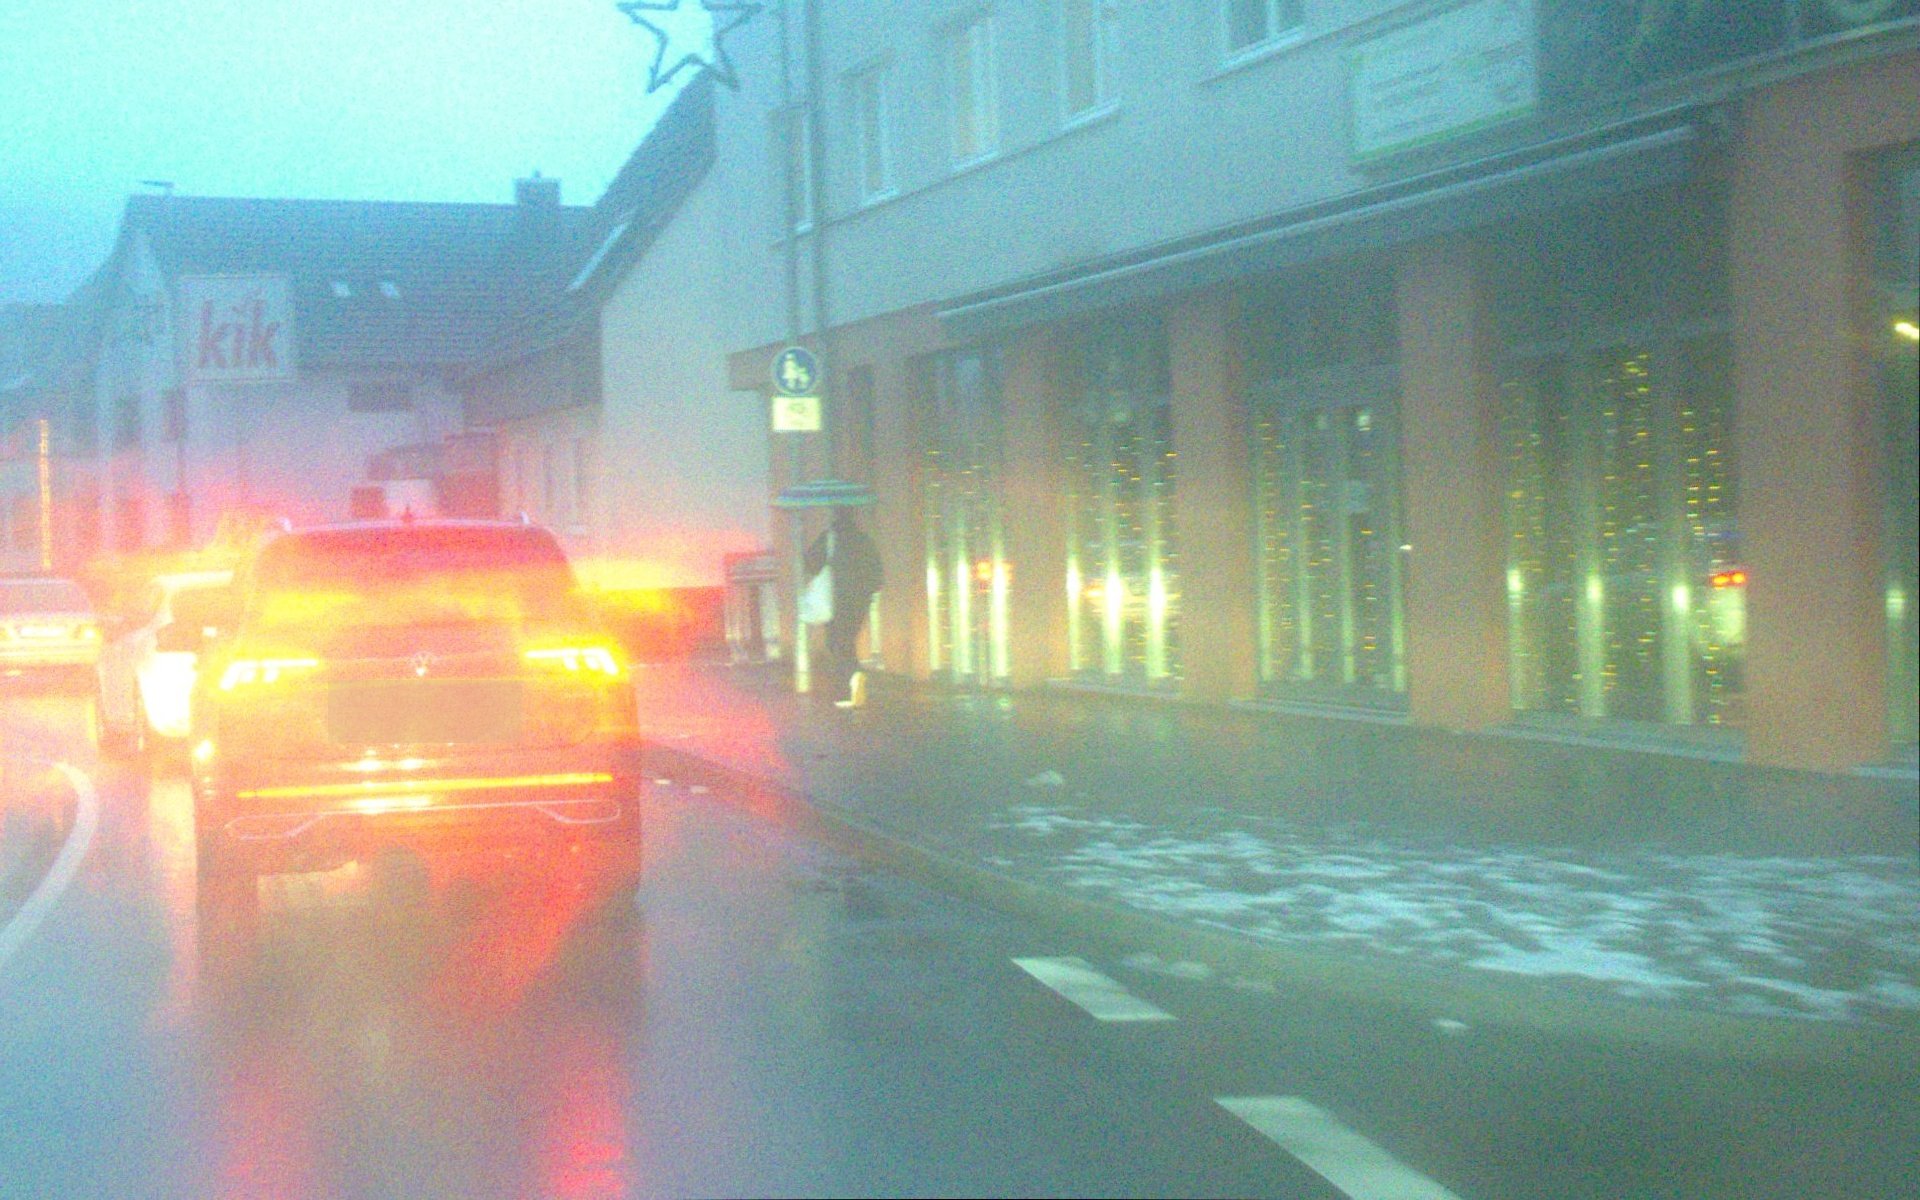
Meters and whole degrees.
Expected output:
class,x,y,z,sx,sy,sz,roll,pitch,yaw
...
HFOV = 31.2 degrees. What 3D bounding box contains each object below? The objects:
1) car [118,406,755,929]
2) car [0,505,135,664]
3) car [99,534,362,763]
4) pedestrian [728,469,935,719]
class,x,y,z,sx,sy,sz,roll,pitch,yaw
car,-2.166,0.223,15.793,2.309,1.932,5.019,-2,1,-3
car,-12.336,-0.194,45.387,2.309,1.932,5.019,-2,1,-18
car,-5.786,0.315,27.118,1.857,1.641,4.001,-1,1,-13
pedestrian,-1.032,-0.060,27.196,1.254,1.859,1.303,-4,2,-16
